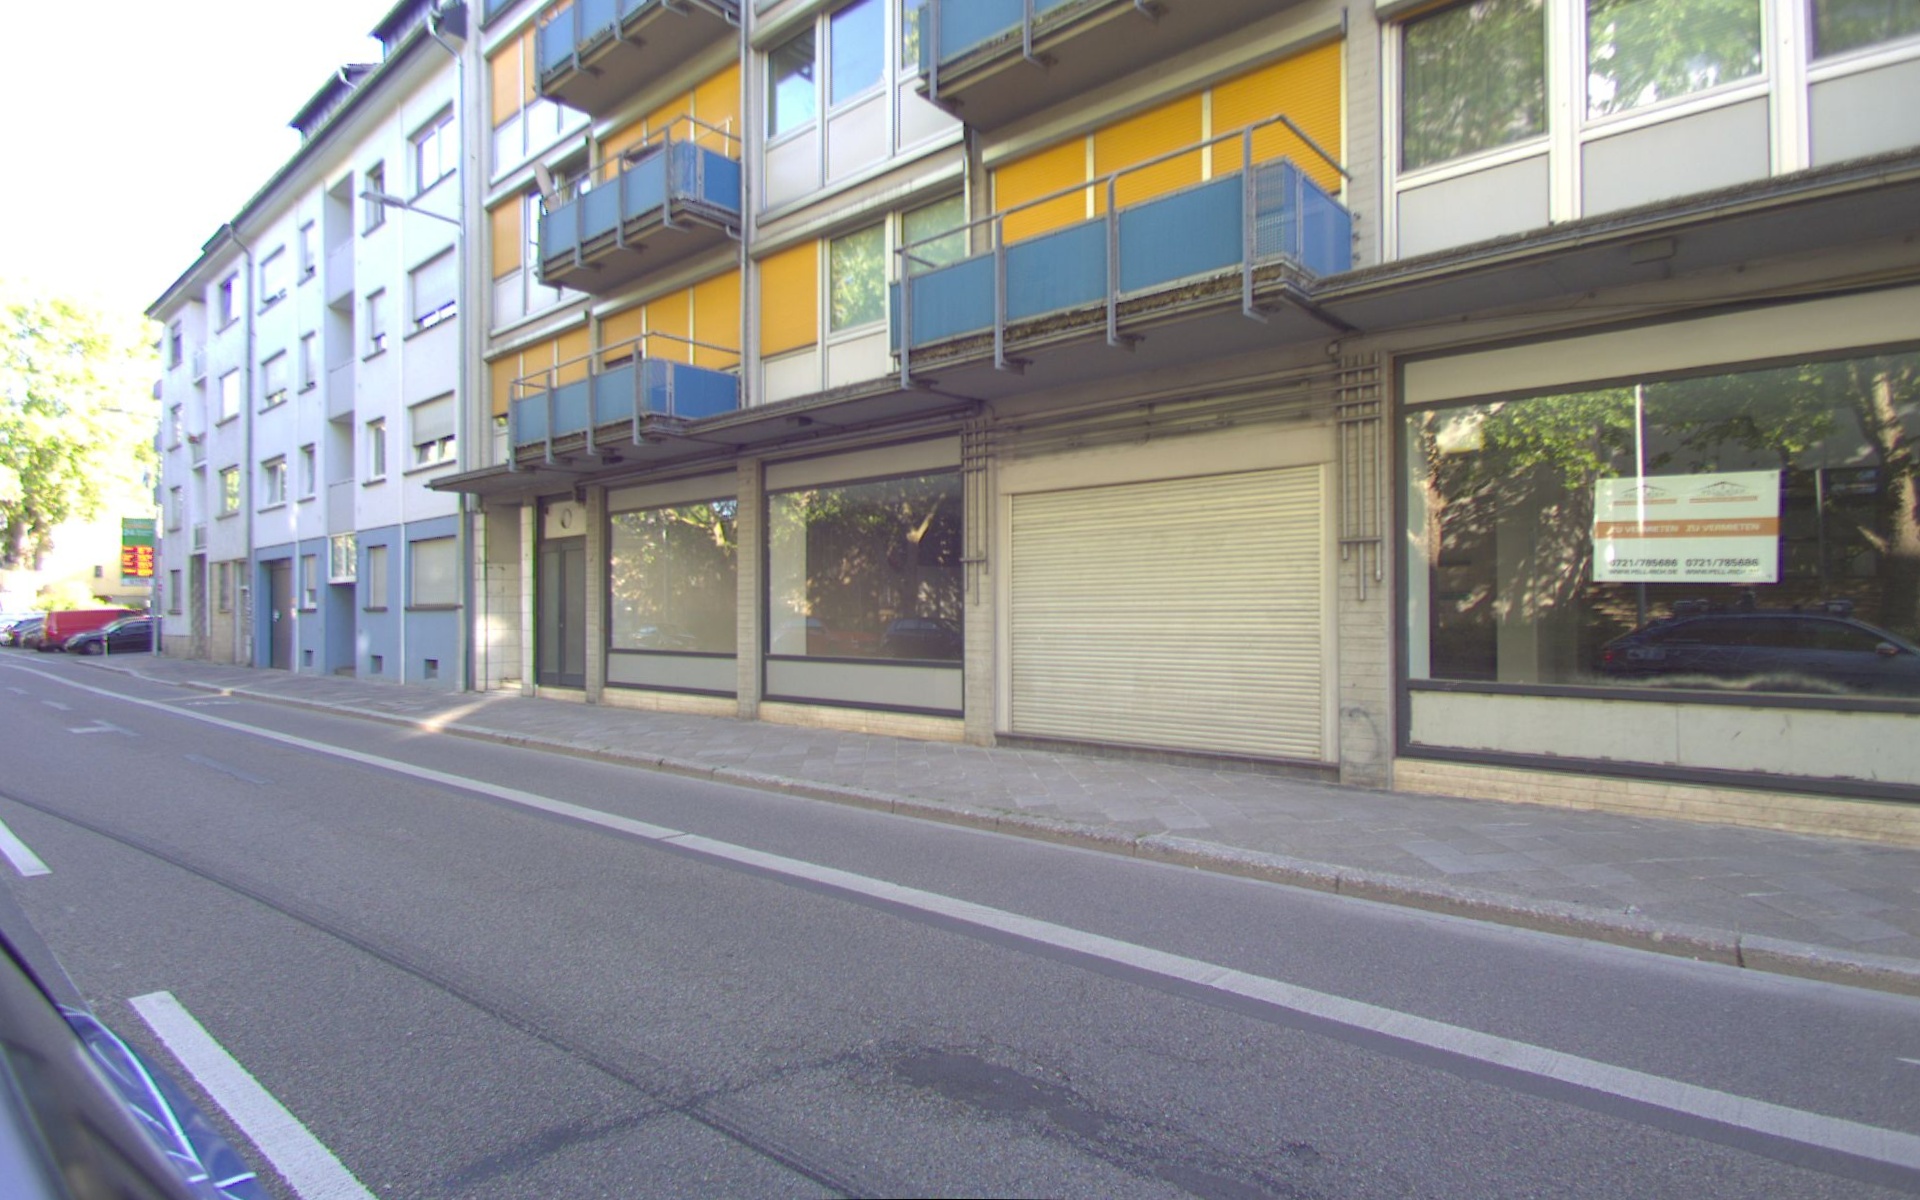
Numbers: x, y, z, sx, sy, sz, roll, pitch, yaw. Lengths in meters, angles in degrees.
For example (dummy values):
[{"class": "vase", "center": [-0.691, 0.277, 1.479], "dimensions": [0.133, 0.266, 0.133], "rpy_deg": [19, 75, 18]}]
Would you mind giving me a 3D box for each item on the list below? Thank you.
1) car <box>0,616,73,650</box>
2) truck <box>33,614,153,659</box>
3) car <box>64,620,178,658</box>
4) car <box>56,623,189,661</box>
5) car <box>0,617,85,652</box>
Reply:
[{"class": "car", "center": [-59.331, 2.091, 64.405], "dimensions": [2.000, 2.052, 4.180], "rpy_deg": [-1, 0, 43]}, {"class": "truck", "center": [-40.712, 1.646, 47.577], "dimensions": [1.999, 1.939, 4.040], "rpy_deg": [-1, 0, 40]}, {"class": "car", "center": [-38.034, 1.728, 45.945], "dimensions": [1.657, 1.583, 3.762], "rpy_deg": [-1, 0, 41]}, {"class": "car", "center": [-36.484, 1.791, 44.162], "dimensions": [1.657, 1.417, 4.269], "rpy_deg": [-1, 0, 40]}, {"class": "car", "center": [-56.048, 2.063, 61.475], "dimensions": [2.000, 1.971, 4.180], "rpy_deg": [-1, 0, 43]}]
